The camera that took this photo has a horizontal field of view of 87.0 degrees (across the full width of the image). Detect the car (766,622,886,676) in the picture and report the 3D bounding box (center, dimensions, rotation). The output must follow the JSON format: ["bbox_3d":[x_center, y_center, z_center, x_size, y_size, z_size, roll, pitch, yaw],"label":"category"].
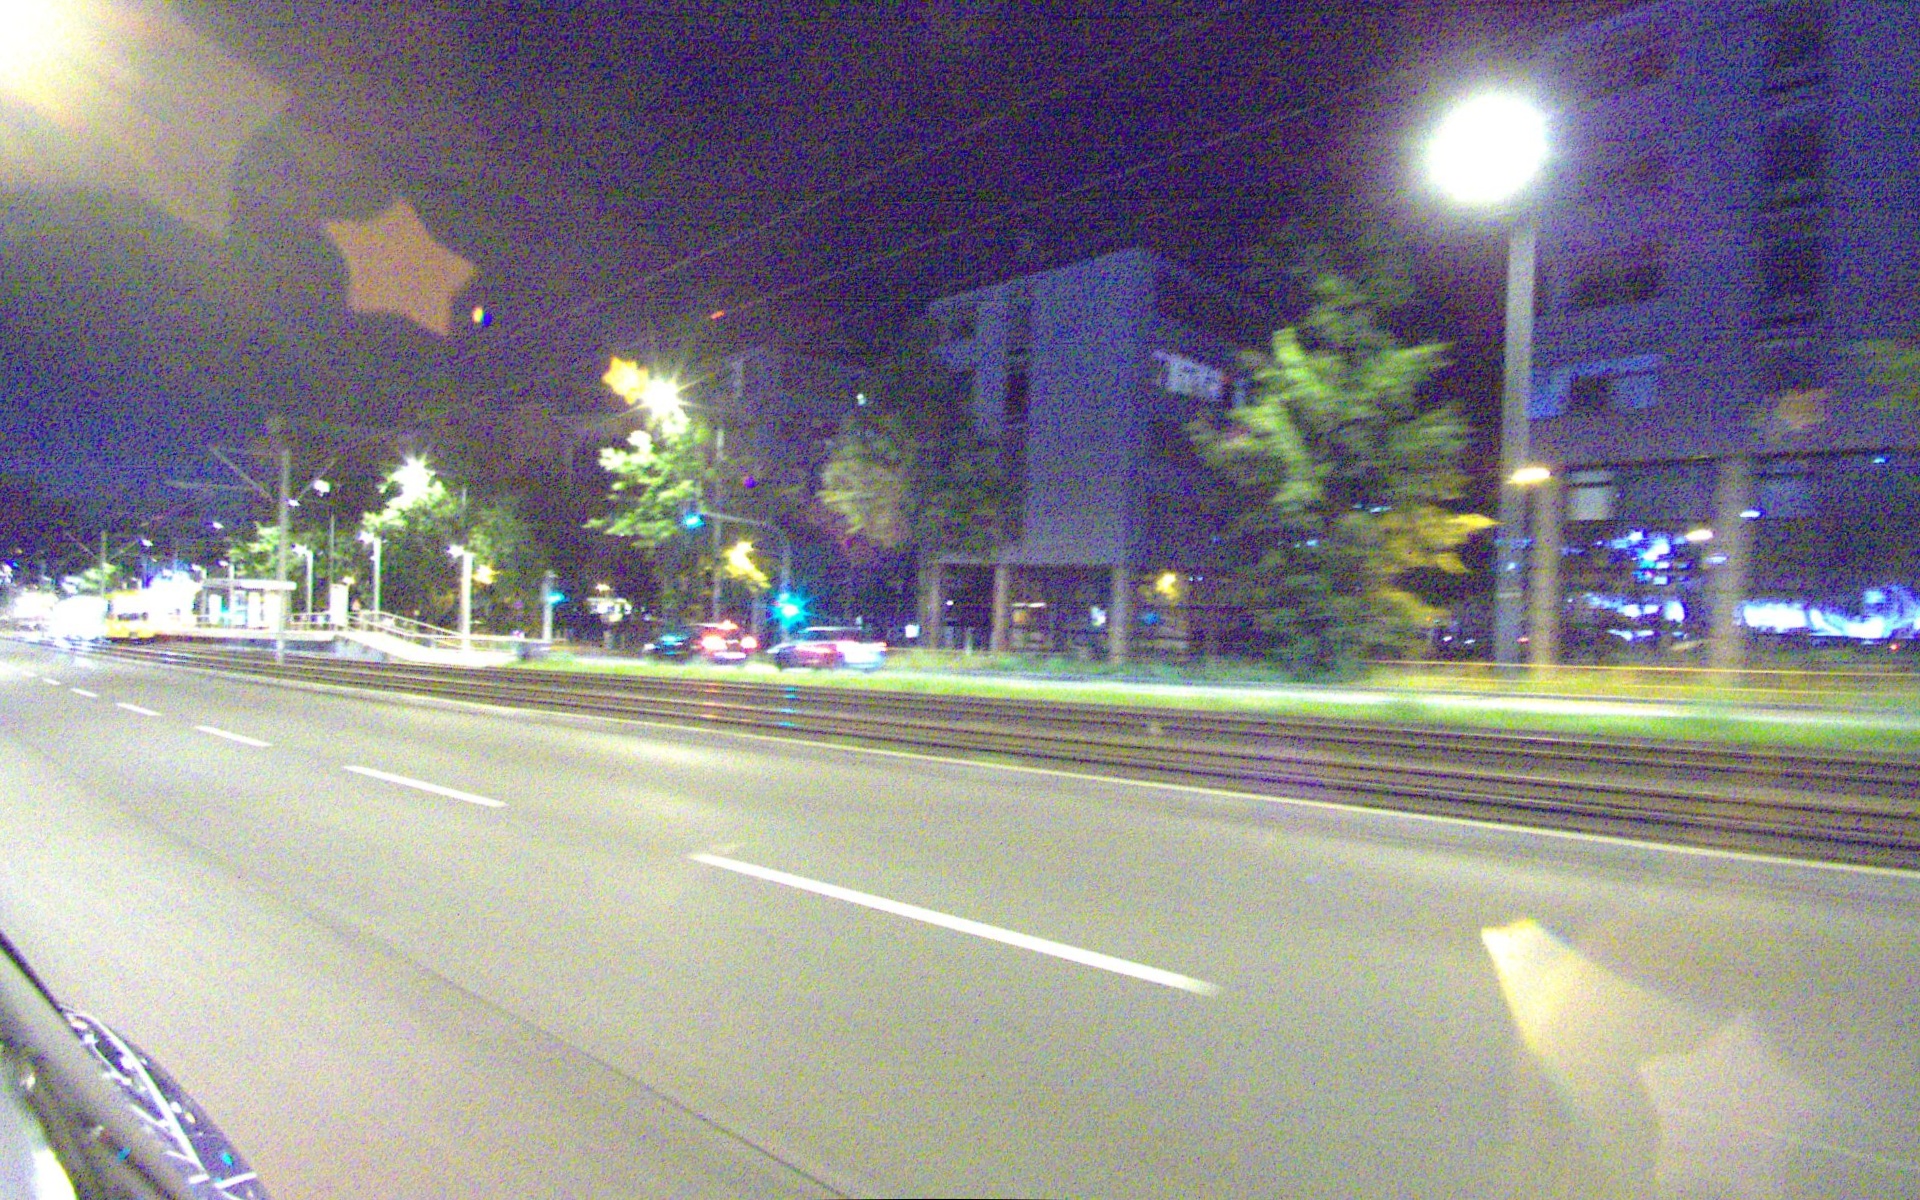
[{"bbox_3d":[-4.244,1.486,31.704,3.911,1.528,1.642,0,-1,44],"label":"car"}]

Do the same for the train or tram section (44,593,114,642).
[{"bbox_3d":[-76.256,1.506,87.397,19.366,3.875,2.708,-1,-1,44],"label":"train or tram section"}]

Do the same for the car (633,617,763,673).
[{"bbox_3d":[-8.151,1.344,31.353,4.170,1.508,1.767,1,0,39],"label":"car"}]

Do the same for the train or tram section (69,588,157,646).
[{"bbox_3d":[-62.469,1.244,74.352,18.671,3.856,2.728,-1,-1,43],"label":"train or tram section"}]
